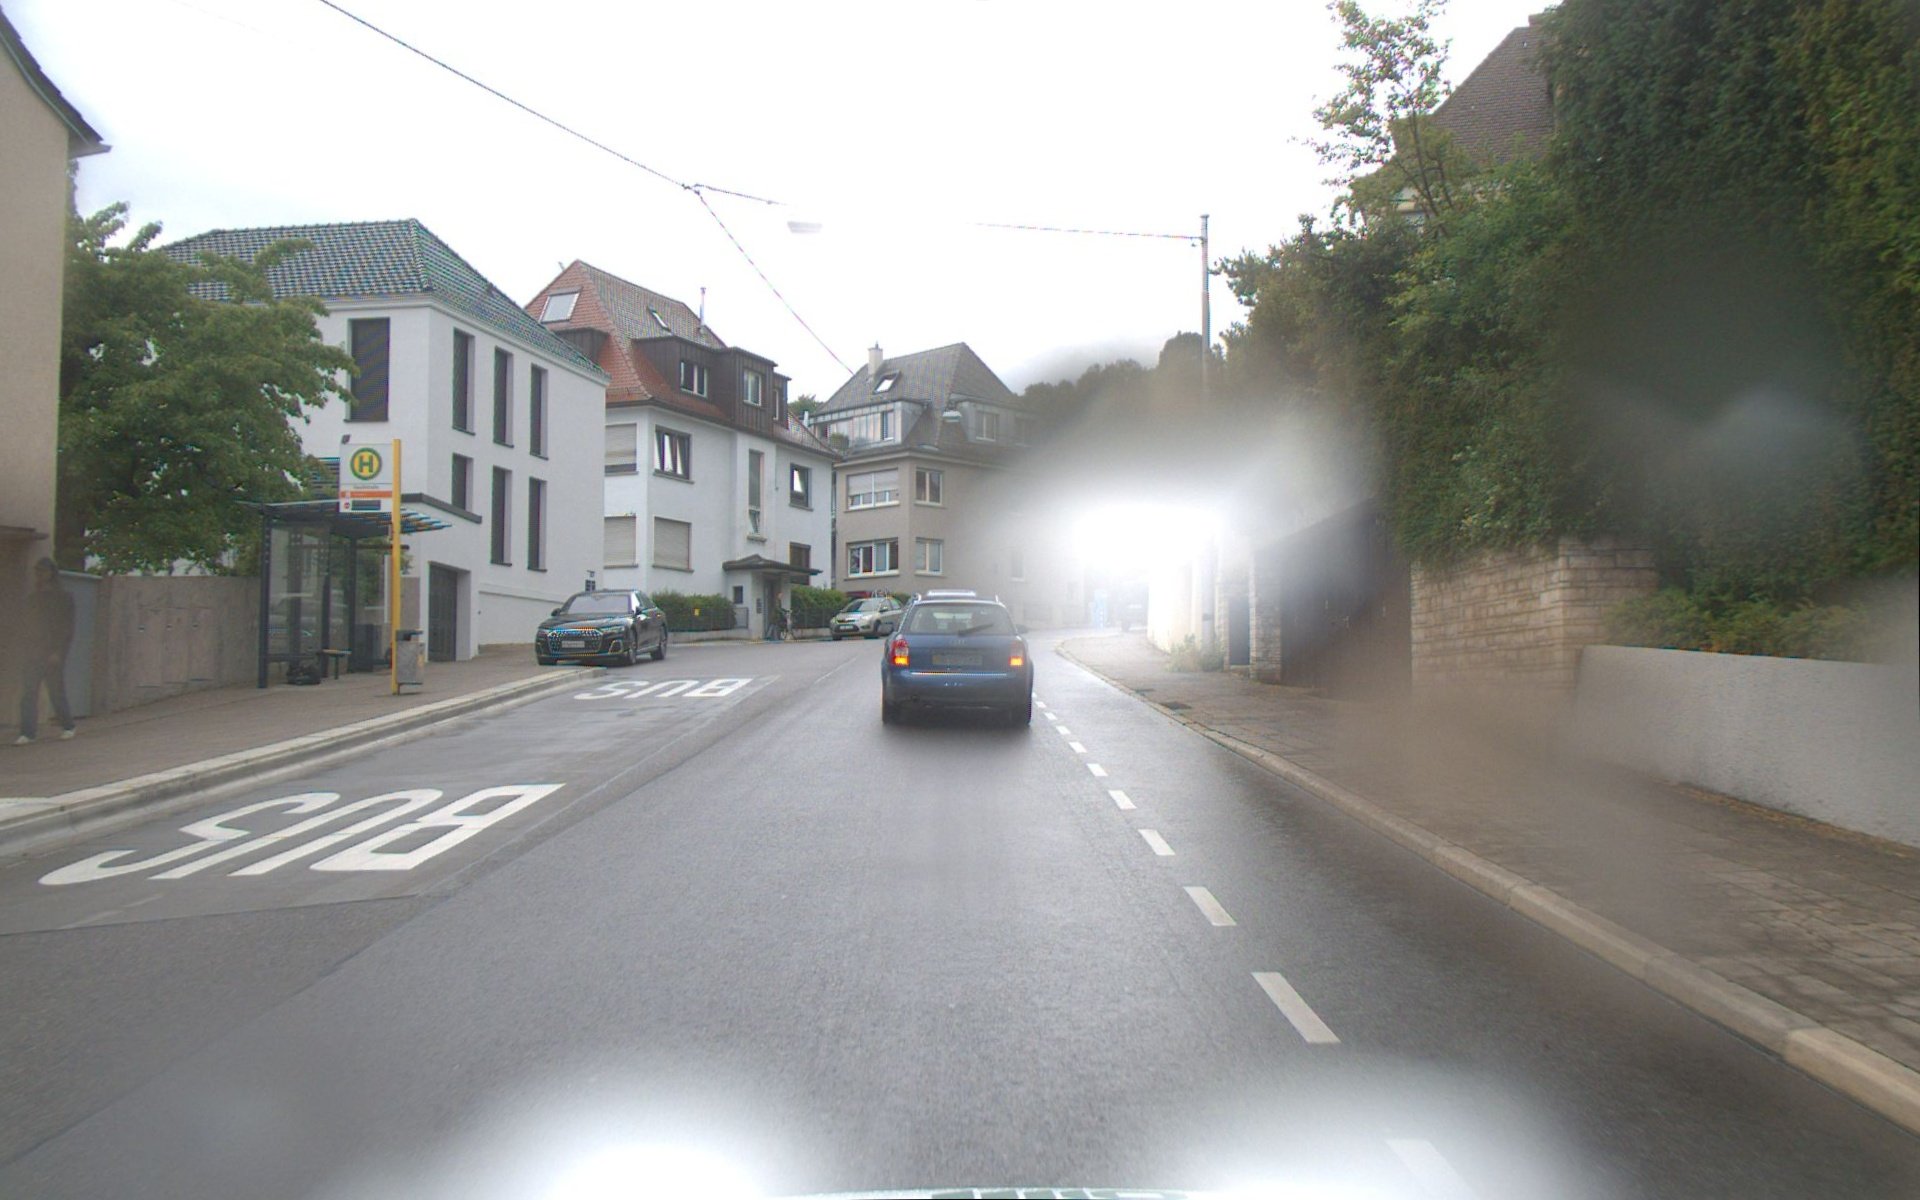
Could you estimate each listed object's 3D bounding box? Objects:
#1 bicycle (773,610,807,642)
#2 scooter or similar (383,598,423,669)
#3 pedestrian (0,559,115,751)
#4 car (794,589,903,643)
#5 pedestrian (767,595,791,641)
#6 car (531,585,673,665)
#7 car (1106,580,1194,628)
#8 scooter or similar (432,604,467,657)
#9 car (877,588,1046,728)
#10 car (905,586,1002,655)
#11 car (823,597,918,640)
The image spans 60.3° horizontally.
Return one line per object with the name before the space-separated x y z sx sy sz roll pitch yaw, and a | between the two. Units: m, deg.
bicycle | -5.987 0.911 58.265 0.446 1.086 1.922 -1 0 18
scooter or similar | -9.953 0.593 29.568 0.330 1.241 1.122 0 0 0
pedestrian | -9.179 0.550 16.813 0.770 1.889 0.728 1 -1 -1
car | -4.625 0.676 68.598 3.911 1.854 1.998 -6 -3 27
pedestrian | -6.405 0.631 58.458 0.482 1.605 0.948 -1 0 18
car | -7.327 0.503 34.341 1.791 1.512 4.991 -1 -1 1
car | 7.287 0.152 63.079 1.892 1.736 3.993 -2 0 30
scooter or similar | -11.255 0.663 36.489 0.421 1.129 1.311 0 0 -3
car | 0.020 0.610 19.763 1.774 1.464 4.081 1 0 0
car | -0.200 0.471 36.252 1.776 1.384 3.995 1 -1 -5
car | -3.183 0.642 59.671 1.798 1.450 4.230 -2 -1 21
